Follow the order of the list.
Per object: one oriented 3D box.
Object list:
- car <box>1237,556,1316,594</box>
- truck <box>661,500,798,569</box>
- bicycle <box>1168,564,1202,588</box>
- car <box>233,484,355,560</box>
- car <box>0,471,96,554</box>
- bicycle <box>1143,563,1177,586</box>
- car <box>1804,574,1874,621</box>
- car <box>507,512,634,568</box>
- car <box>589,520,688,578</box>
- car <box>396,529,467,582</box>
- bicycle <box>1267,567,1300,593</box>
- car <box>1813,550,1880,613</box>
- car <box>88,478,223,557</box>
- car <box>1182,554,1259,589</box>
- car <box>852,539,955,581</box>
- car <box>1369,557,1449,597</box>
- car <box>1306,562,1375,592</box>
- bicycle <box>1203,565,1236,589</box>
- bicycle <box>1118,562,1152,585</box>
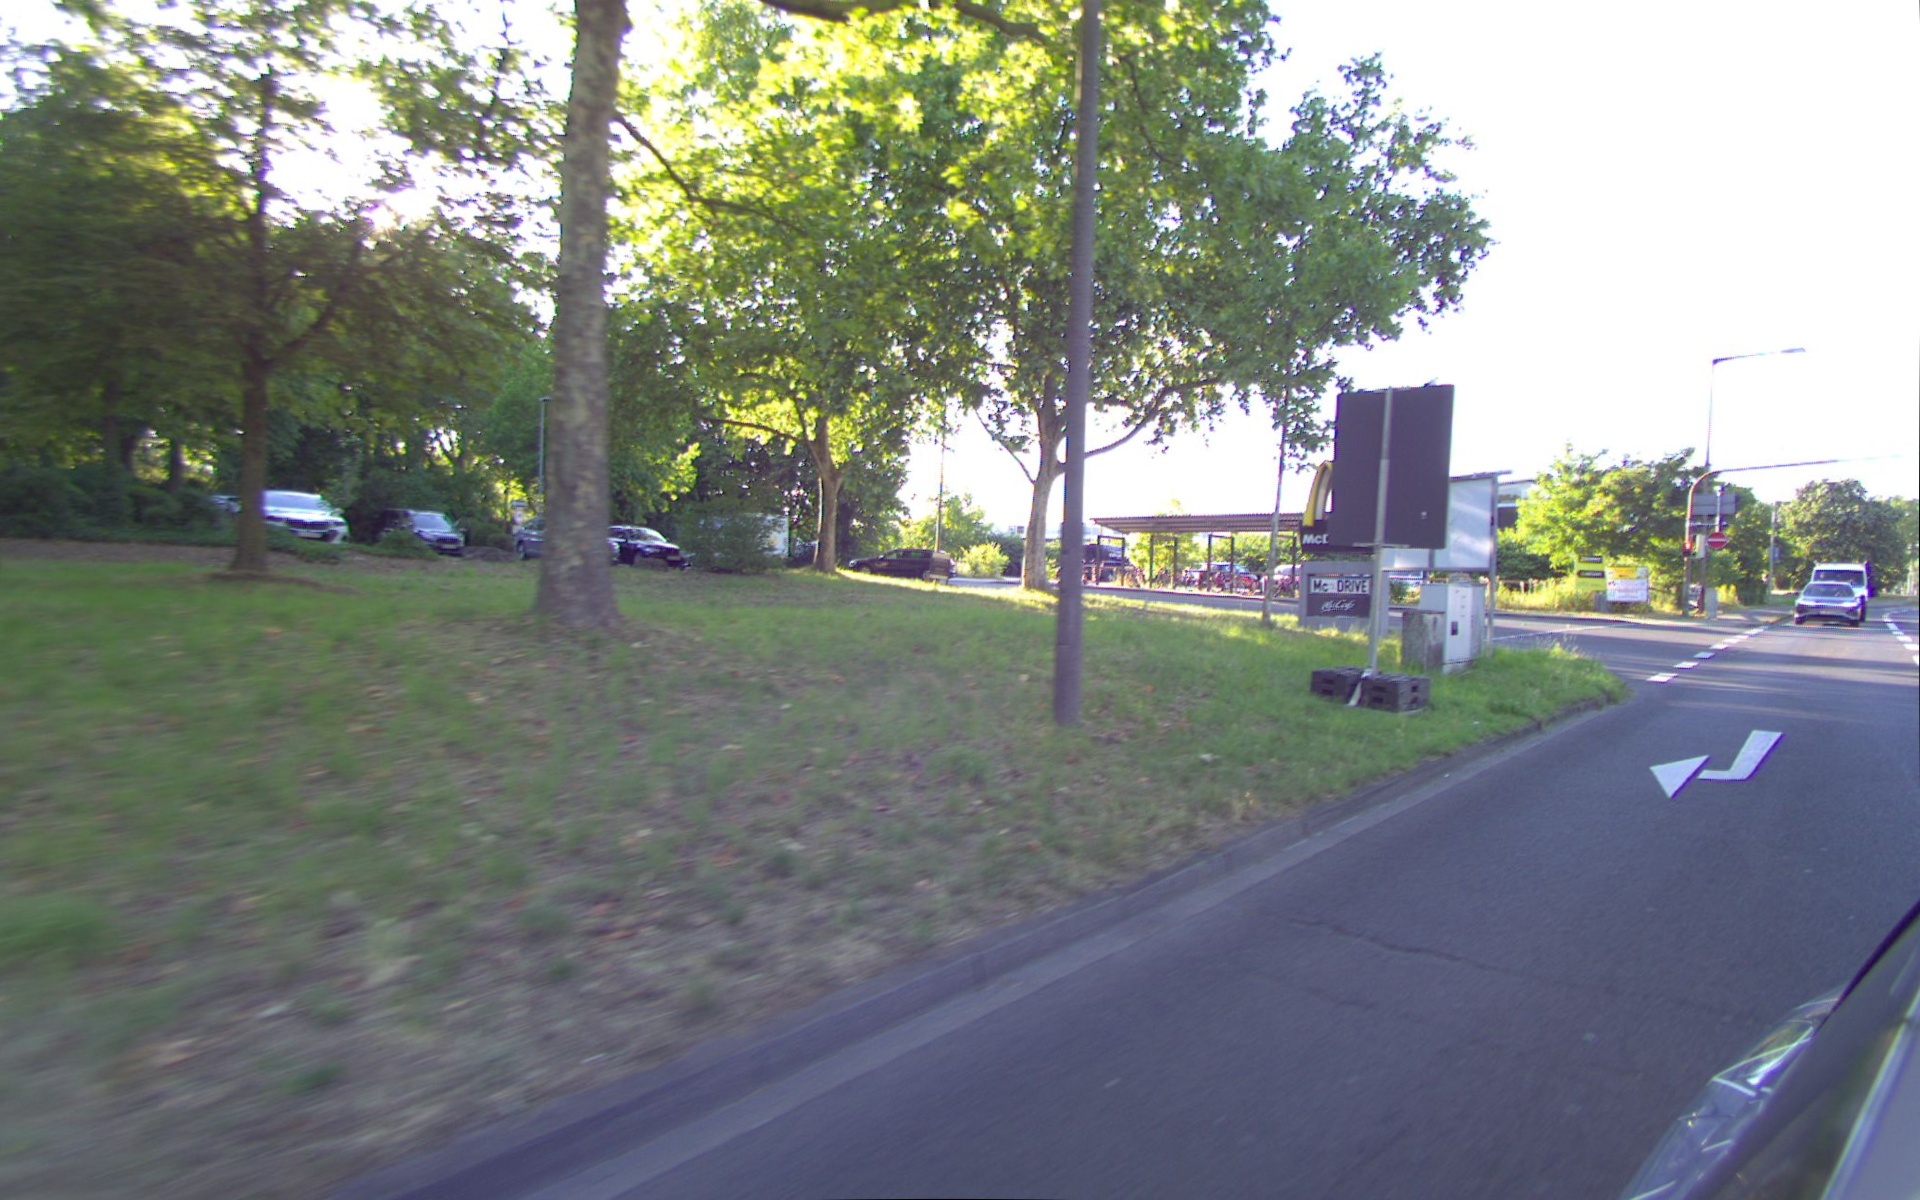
[{"bbox_3d":[15.583,-1.206,49.644,2.113,1.668,4.256,4,3,41],"label":"car"},{"bbox_3d":[-14.803,-4.192,64.097,3.142,3.923,11.076,1,3,-44],"label":"truck"},{"bbox_3d":[10.279,-1.087,46.183,1.861,1.051,0.543,0,3,-43],"label":"bicycle"},{"bbox_3d":[-17.299,-1.990,26.177,1.965,1.727,4.893,1,3,-42],"label":"car"},{"bbox_3d":[-21.480,-1.984,23.130,4.203,1.708,1.804,4,3,37],"label":"car"},{"bbox_3d":[9.324,-1.180,47.094,1.861,1.051,0.543,0,3,-43],"label":"bicycle"},{"bbox_3d":[33.805,-0.127,38.905,1.870,1.637,4.479,4,3,42],"label":"car"},{"bbox_3d":[-12.172,-1.881,31.487,4.389,1.593,2.011,4,3,44],"label":"car"},{"bbox_3d":[-10.576,-1.682,33.199,1.652,1.751,3.495,0,3,-45],"label":"car"},{"bbox_3d":[-18.862,-1.623,36.051,1.648,1.751,3.502,1,3,-38],"label":"car"},{"bbox_3d":[13.662,-0.824,42.699,0.542,1.051,1.864,4,3,43],"label":"bicycle"},{"bbox_3d":[39.686,-0.811,45.248,2.003,2.597,5.784,4,3,43],"label":"car"},{"bbox_3d":[-19.472,-1.960,24.438,4.208,1.708,1.801,4,3,40],"label":"car"},{"bbox_3d":[13.445,-1.457,52.073,2.113,1.668,4.256,4,3,41],"label":"car"},{"bbox_3d":[-2.405,-1.715,43.494,4.182,1.574,1.829,3,2,4],"label":"car"},{"bbox_3d":[20.173,-1.010,45.408,2.113,1.668,4.164,4,3,41],"label":"car"},{"bbox_3d":[22.995,-1.394,61.141,3.927,1.656,2.120,1,3,-38],"label":"car"},{"bbox_3d":[11.508,-1.006,44.893,0.542,1.051,1.864,4,3,43],"label":"bicycle"},{"bbox_3d":[8.346,-1.277,48.189,1.861,1.051,0.543,0,3,-43],"label":"bicycle"}]
